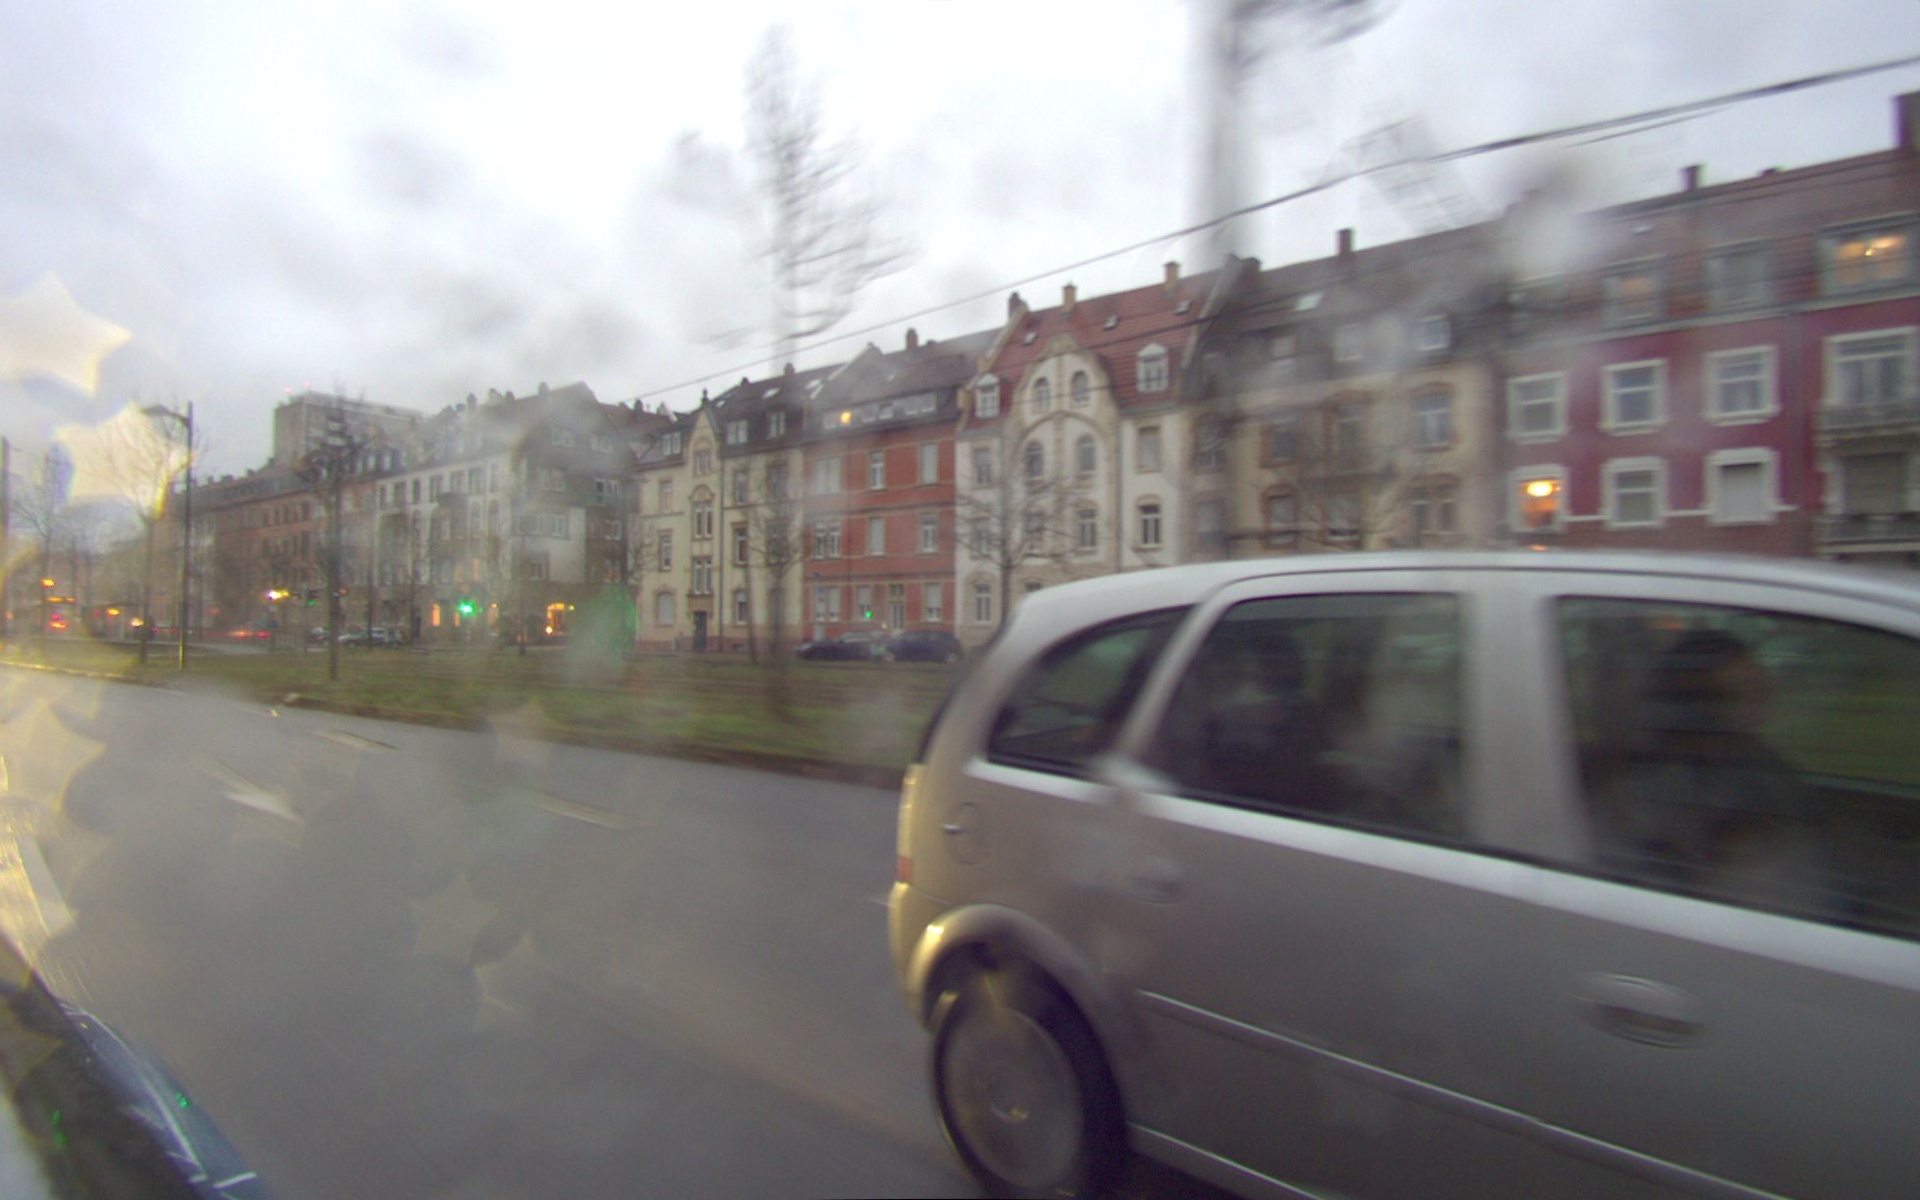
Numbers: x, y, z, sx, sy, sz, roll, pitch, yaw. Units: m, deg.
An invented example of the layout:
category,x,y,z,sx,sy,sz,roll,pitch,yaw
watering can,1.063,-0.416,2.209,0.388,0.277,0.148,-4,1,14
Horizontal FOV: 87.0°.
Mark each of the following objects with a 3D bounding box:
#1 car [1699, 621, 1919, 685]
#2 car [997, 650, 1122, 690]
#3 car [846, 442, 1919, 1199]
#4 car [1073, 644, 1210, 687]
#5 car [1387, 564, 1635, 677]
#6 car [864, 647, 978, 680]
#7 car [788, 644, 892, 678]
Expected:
category,x,y,z,sx,sy,sz,roll,pitch,yaw
car,19.261,1.207,22.917,3.933,1.342,2.005,1,-3,-14
car,3.488,2.447,35.722,3.932,1.342,2.006,1,-3,-16
car,1.782,0.608,2.110,4.052,1.612,1.790,-1,-2,42
car,5.969,2.142,33.427,3.932,1.342,2.006,1,-3,-17
car,14.650,0.599,27.038,5.772,2.819,2.004,1,-3,-10
car,-1.488,2.367,38.053,3.933,1.178,2.005,1,-3,-13
car,-4.921,2.482,41.264,3.932,1.342,2.006,1,-3,-16
